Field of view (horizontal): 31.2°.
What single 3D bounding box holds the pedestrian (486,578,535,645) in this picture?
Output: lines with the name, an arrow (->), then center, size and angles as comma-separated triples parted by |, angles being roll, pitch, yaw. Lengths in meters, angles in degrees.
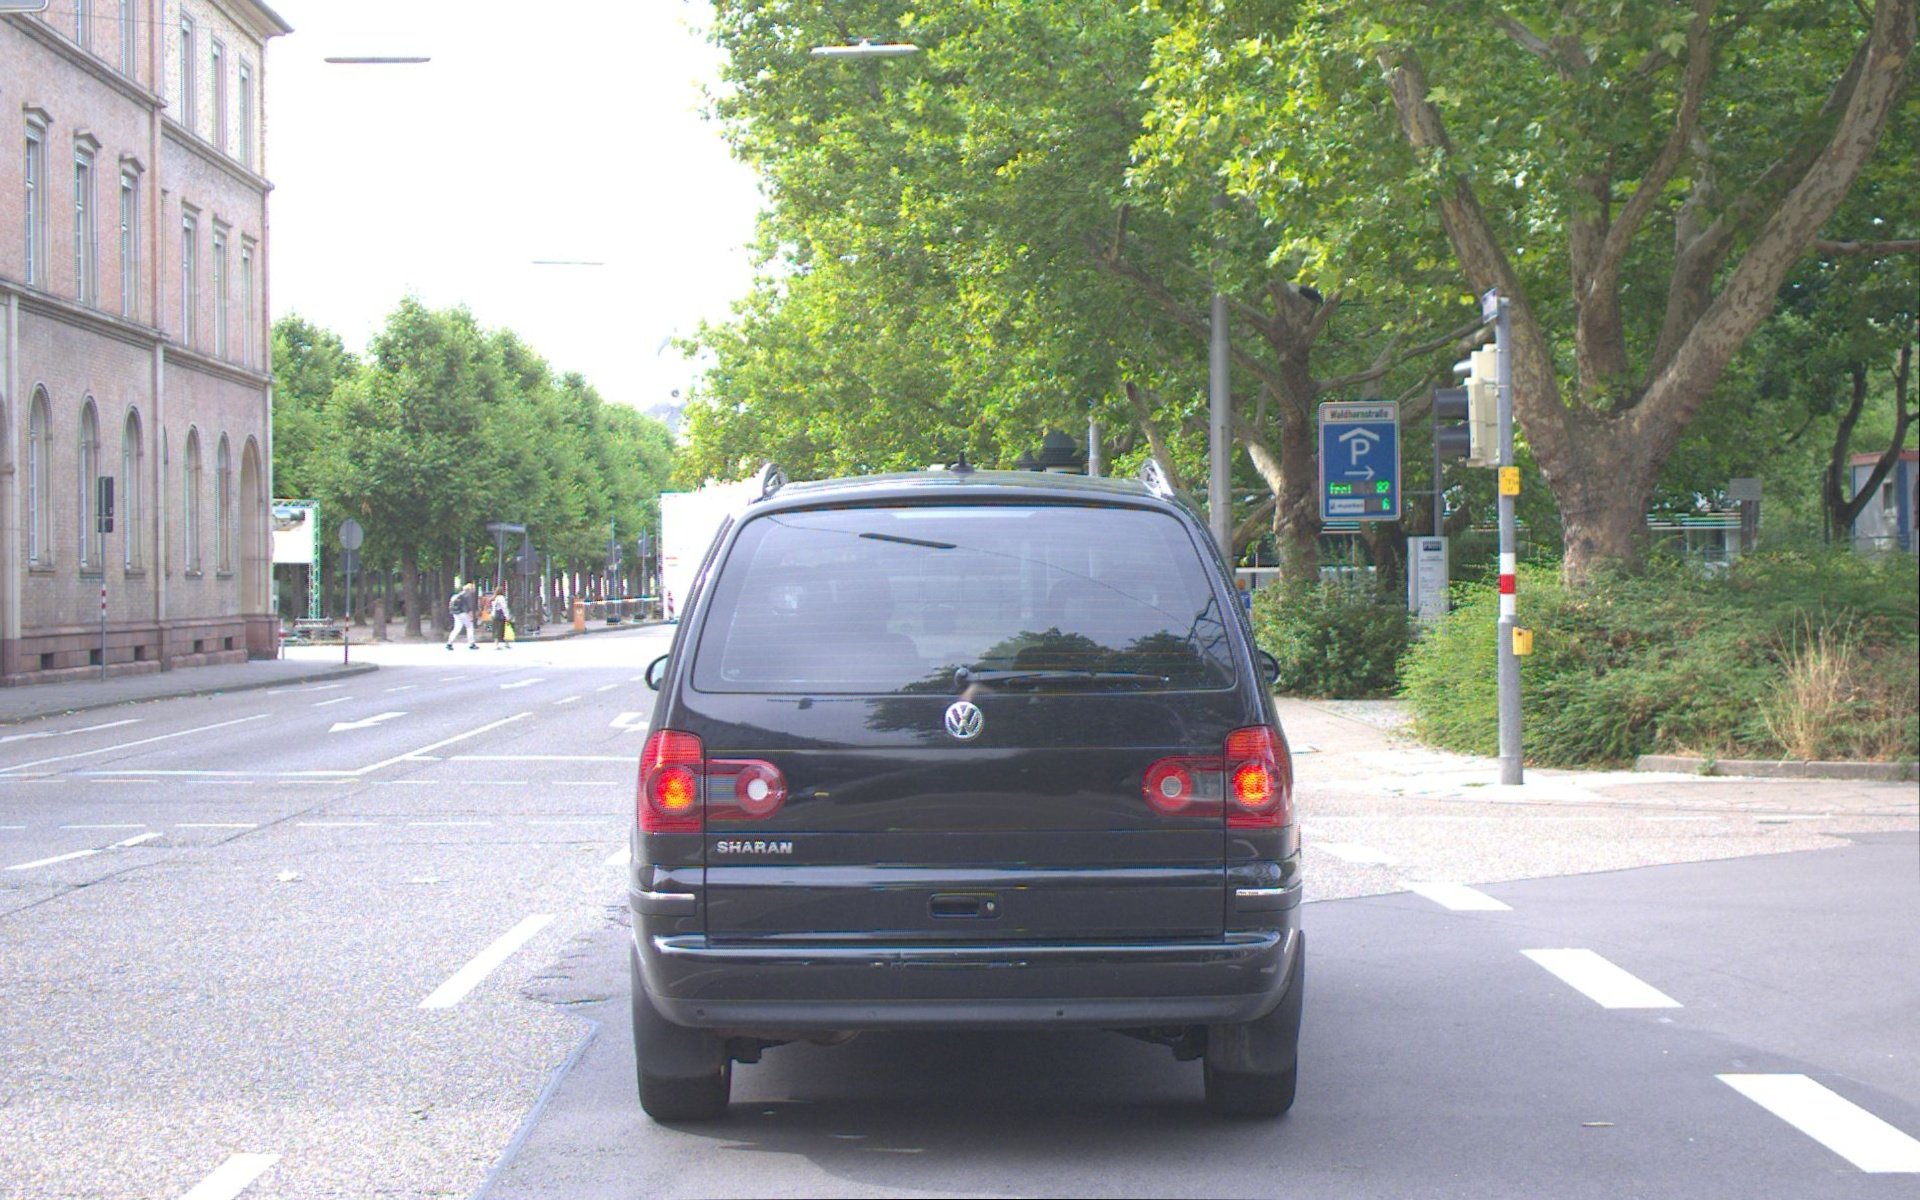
pedestrian -> -11.117, 0.289, 85.071 | 0.896, 1.636, 0.852 | 1, 0, 18

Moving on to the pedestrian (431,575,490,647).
pedestrian -> -12.390, 0.266, 85.287 | 0.961, 1.735, 1.255 | 1, 0, 17

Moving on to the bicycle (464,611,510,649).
bicycle -> -14.802, 0.927, 107.509 | 0.952, 1.106, 2.580 | 1, 0, -18

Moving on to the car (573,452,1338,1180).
car -> -0.059, 0.495, 10.208 | 1.793, 1.702, 4.131 | -1, 0, -1
